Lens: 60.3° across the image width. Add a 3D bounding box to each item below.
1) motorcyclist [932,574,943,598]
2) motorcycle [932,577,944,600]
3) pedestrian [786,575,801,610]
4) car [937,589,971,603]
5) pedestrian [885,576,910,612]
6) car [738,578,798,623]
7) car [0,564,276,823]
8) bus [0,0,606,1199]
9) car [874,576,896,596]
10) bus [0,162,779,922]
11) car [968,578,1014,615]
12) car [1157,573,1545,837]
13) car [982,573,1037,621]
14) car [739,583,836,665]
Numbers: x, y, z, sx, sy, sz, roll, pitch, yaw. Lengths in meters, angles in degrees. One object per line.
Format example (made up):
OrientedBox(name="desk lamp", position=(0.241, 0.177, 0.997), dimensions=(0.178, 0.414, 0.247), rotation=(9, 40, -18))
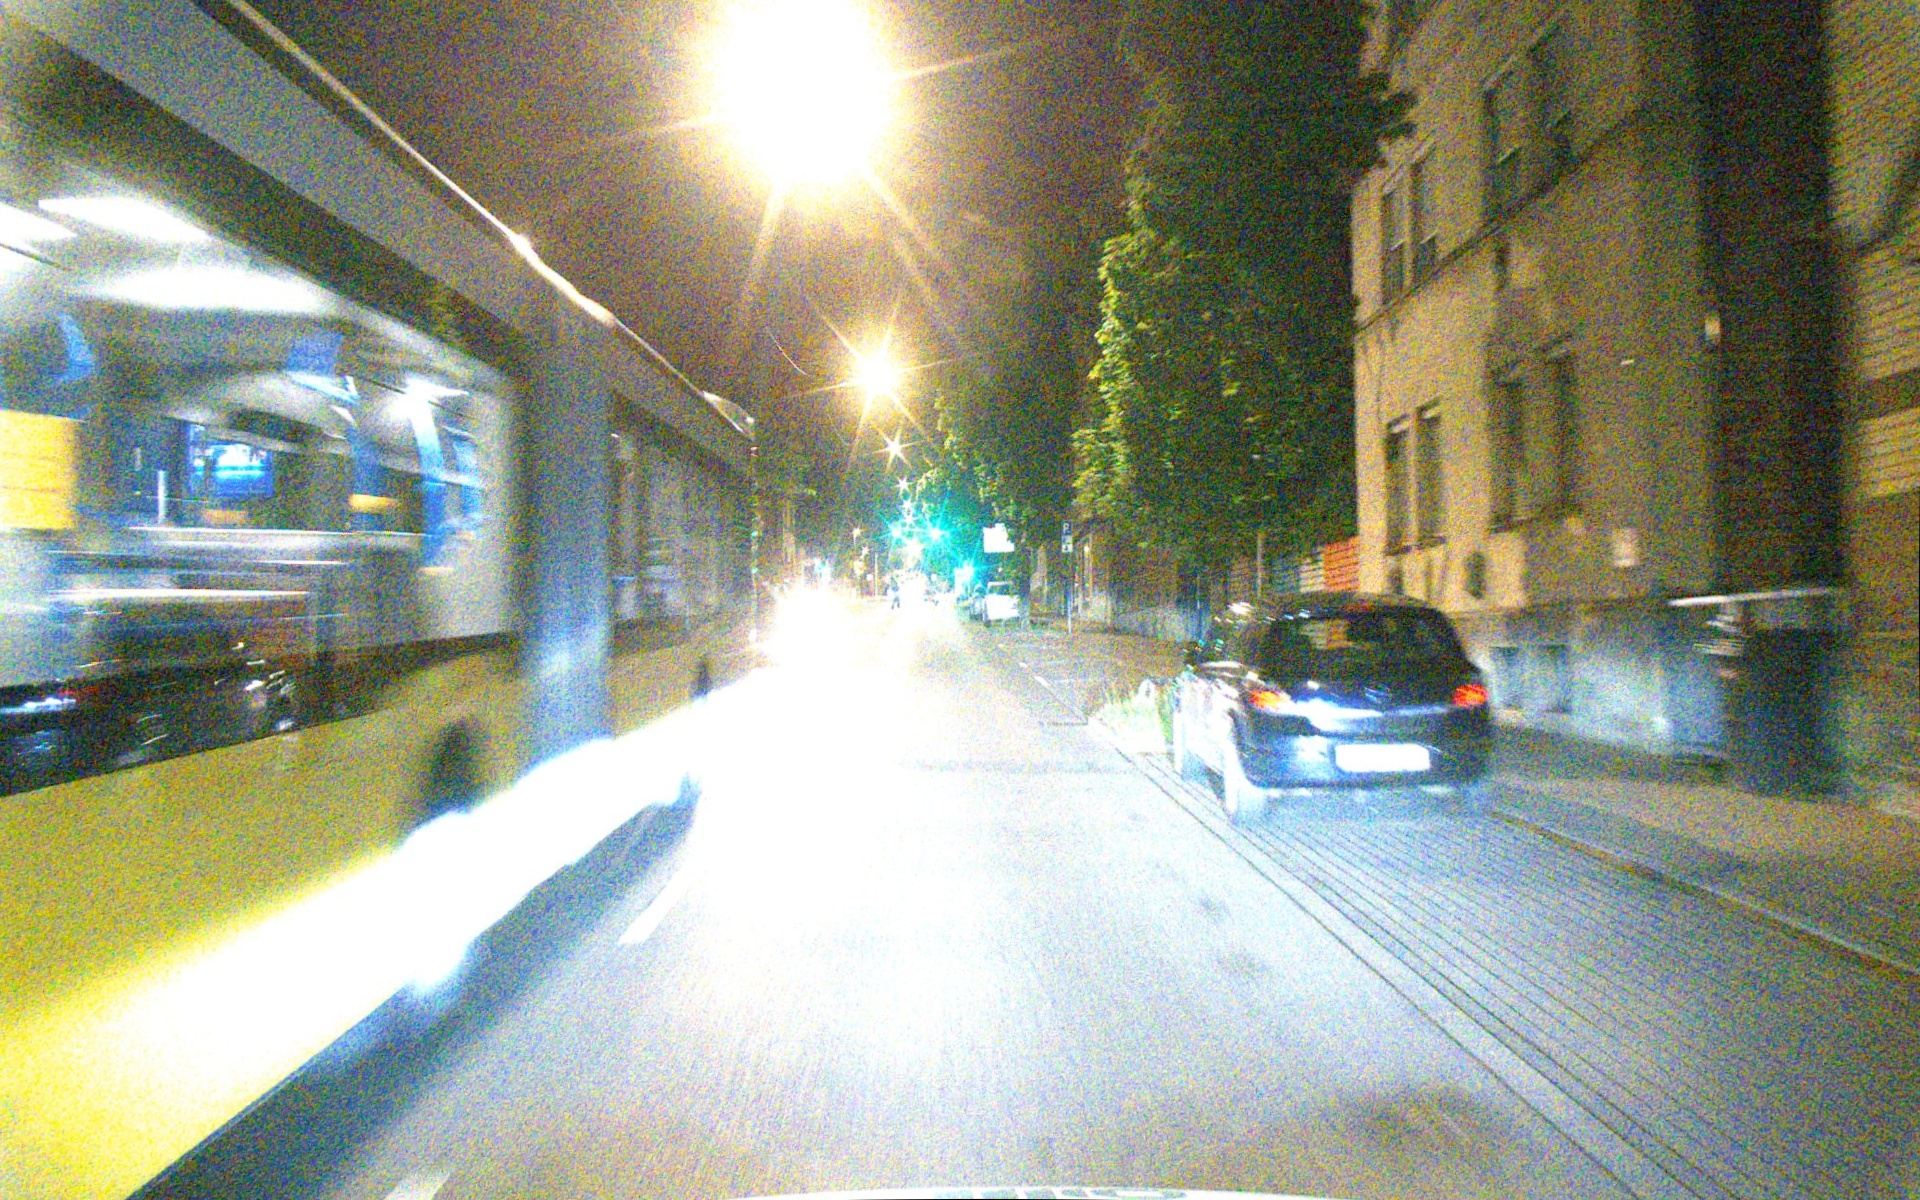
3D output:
OrientedBox(name="motorcyclist", position=(-1.722, -1.070, 127.052), dimensions=(0.831, 1.783, 0.805), rotation=(0, -1, -1))
OrientedBox(name="motorcycle", position=(-1.719, -0.879, 127.035), dimensions=(0.912, 1.783, 2.624), rotation=(0, 0, -1))
OrientedBox(name="pedestrian", position=(-8.625, -0.392, 85.721), dimensions=(0.705, 1.796, 0.602), rotation=(0, -1, -10))
OrientedBox(name="car", position=(-0.678, -0.411, 184.177), dimensions=(1.690, 1.483, 3.899), rotation=(0, -1, 41))
OrientedBox(name="pedestrian", position=(-3.114, -0.313, 82.156), dimensions=(0.917, 1.729, 0.756), rotation=(2, 1, -38))
OrientedBox(name="car", position=(-6.489, -0.002, 56.343), dimensions=(1.686, 1.462, 4.808), rotation=(0, 0, -3))
OrientedBox(name="car", position=(-5.993, 0.567, 11.126), dimensions=(1.605, 1.524, 2.765), rotation=(-1, 0, 0))
OrientedBox(name="bus", position=(-2.795, -0.175, 1.729), dimensions=(2.780, 3.233, 10.496), rotation=(0, 1, -1))
OrientedBox(name="car", position=(-6.861, -1.276, 151.874), dimensions=(1.905, 1.747, 3.999), rotation=(0, 0, -1))
OrientedBox(name="bus", position=(-2.964, -0.290, 10.893), dimensions=(2.780, 3.233, 7.660), rotation=(0, 1, -1))
OrientedBox(name="car", position=(1.356, -0.171, 74.063), dimensions=(1.831, 1.553, 4.149), rotation=(-2, 1, -1))
OrientedBox(name="car", position=(2.583, 0.590, 11.914), dimensions=(1.727, 1.501, 4.080), rotation=(-2, 1, -1))
OrientedBox(name="car", position=(1.783, -0.152, 60.643), dimensions=(1.775, 1.621, 4.273), rotation=(-2, 1, -1))
OrientedBox(name="car", position=(-3.365, 0.425, 32.787), dimensions=(1.612, 1.447, 3.869), rotation=(-2, 1, -2))
